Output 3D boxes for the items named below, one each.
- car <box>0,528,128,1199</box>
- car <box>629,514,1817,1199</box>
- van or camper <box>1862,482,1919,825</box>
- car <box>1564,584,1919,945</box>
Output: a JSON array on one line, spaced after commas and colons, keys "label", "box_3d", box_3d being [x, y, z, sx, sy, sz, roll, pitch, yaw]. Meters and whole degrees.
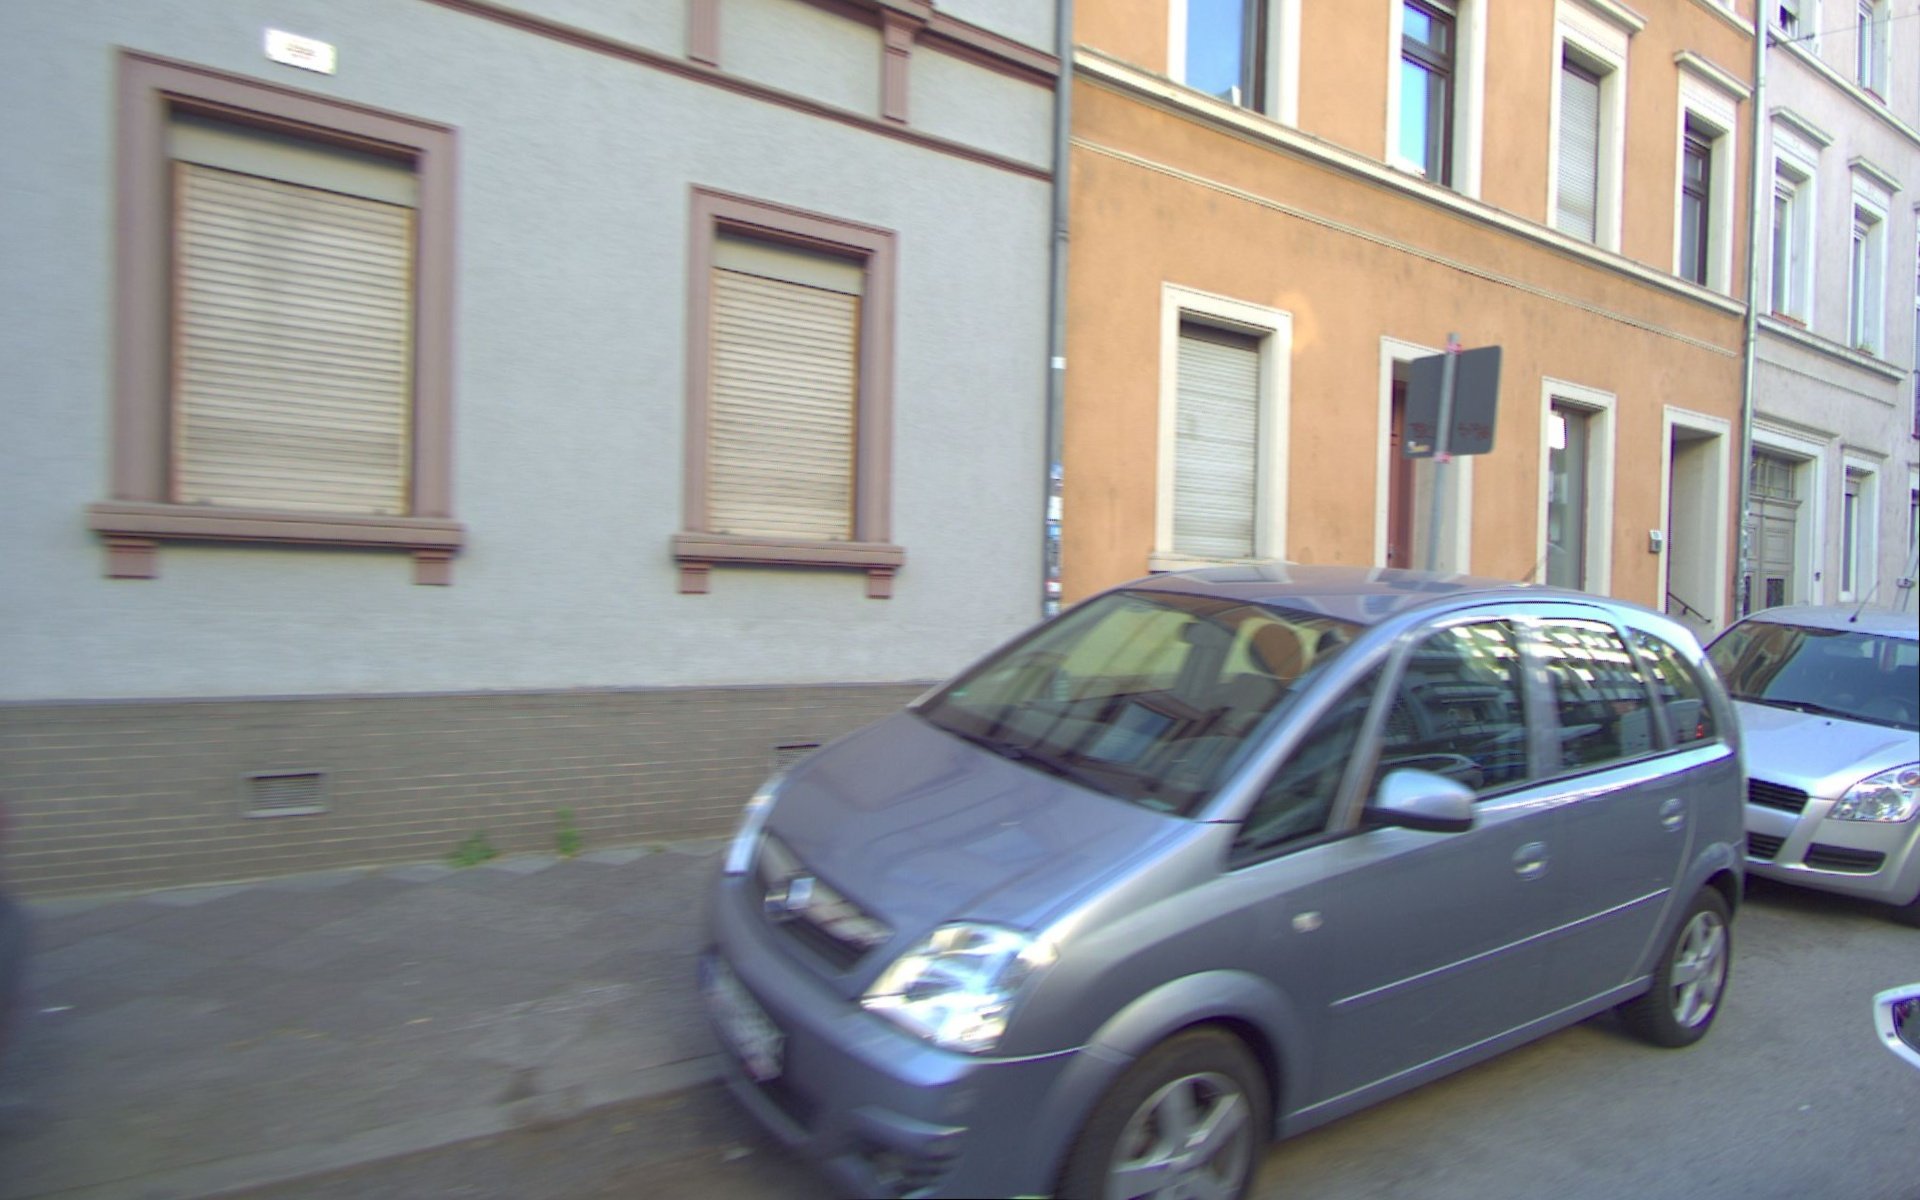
[{"label": "car", "box_3d": [-3.162, 0.580, 1.089, 3.249, 1.467, 1.647, 2, 4, -32]}, {"label": "car", "box_3d": [1.087, 0.681, 3.487, 3.935, 1.666, 1.701, 1, 3, -32]}, {"label": "van or camper", "box_3d": [10.793, 0.500, 9.257, 7.064, 2.684, 1.938, 2, -1, -33]}, {"label": "car", "box_3d": [5.662, 0.817, 6.419, 3.612, 1.708, 1.581, 1, 1, -32]}]
